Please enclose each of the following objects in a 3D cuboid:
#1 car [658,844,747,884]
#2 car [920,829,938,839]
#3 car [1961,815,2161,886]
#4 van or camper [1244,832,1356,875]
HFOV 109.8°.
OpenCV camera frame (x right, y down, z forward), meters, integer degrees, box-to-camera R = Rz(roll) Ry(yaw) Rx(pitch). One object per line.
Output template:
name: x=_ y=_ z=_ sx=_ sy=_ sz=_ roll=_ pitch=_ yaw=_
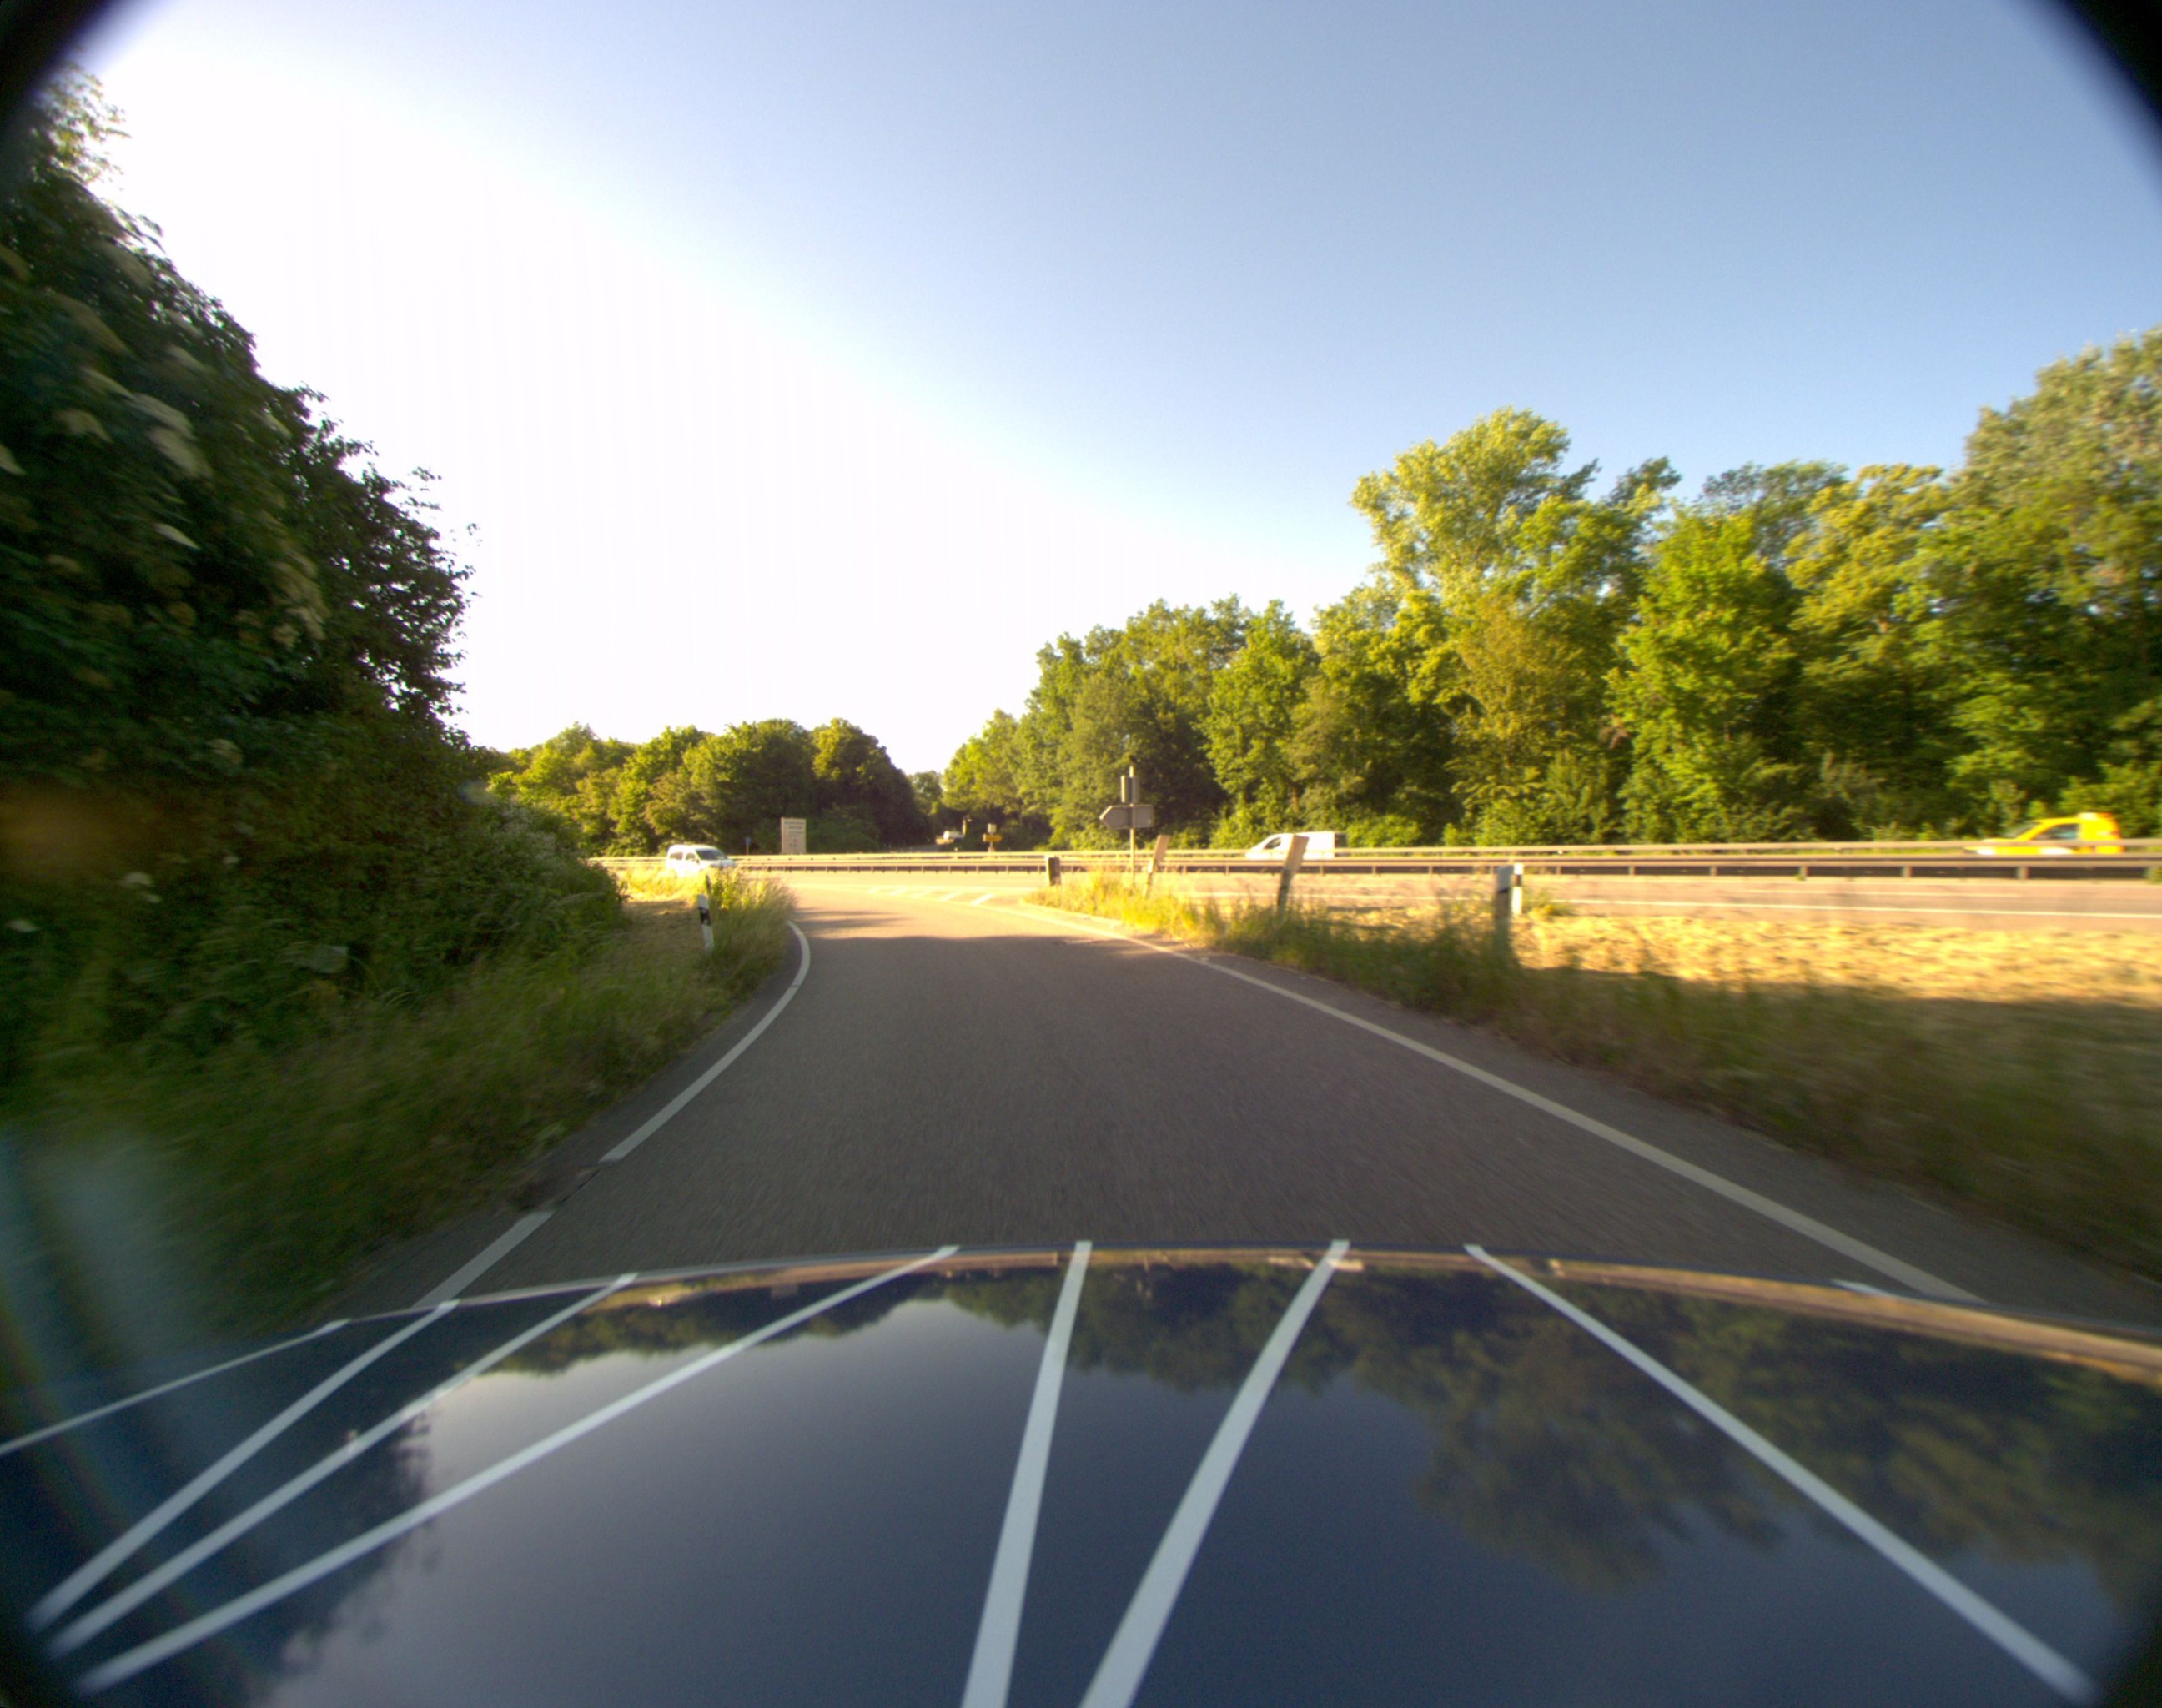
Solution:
car: x=-19.295 y=0.458 z=38.690 sx=4.819 sy=1.797 sz=1.804 roll=1 pitch=3 yaw=33
car: x=-27.754 y=-3.656 z=139.074 sx=1.998 sy=1.849 sz=4.664 roll=0 pitch=2 yaw=4
car: x=30.192 y=-0.117 z=23.220 sx=3.988 sy=2.002 sz=2.004 roll=0 pitch=1 yaw=39
van or camper: x=10.653 y=-0.043 z=37.113 sx=4.804 sy=2.002 sz=2.084 roll=0 pitch=1 yaw=36
